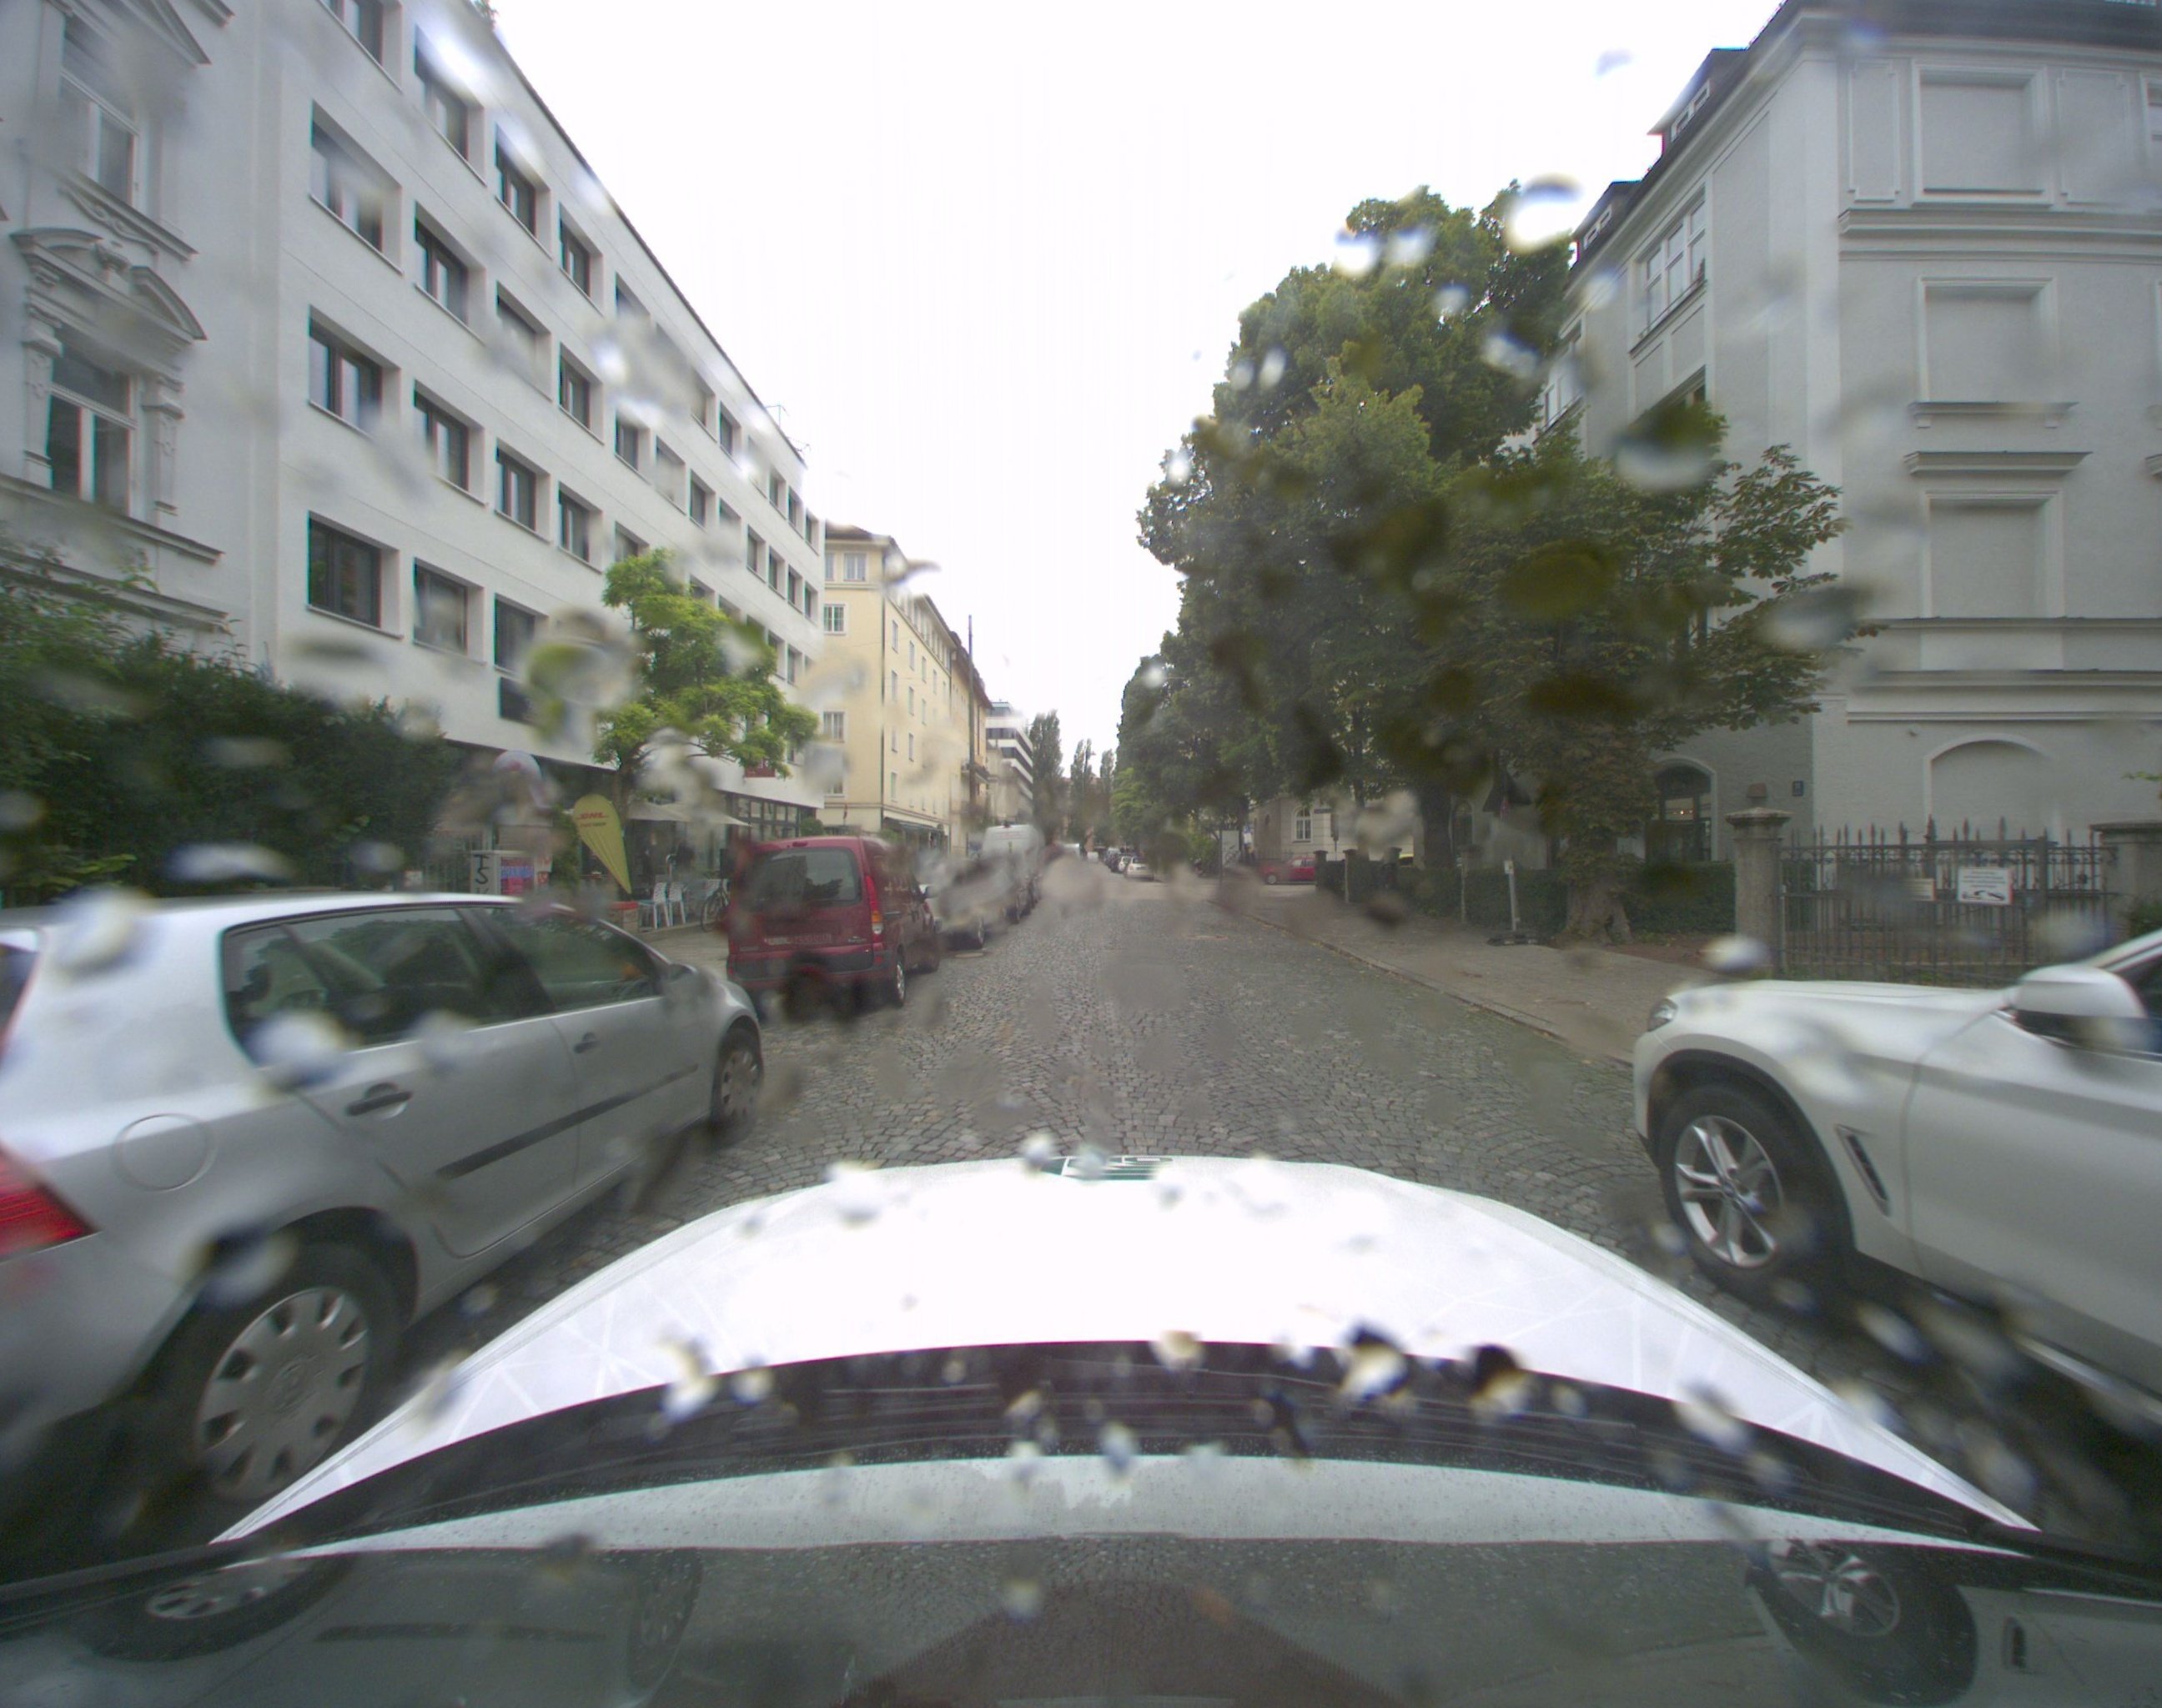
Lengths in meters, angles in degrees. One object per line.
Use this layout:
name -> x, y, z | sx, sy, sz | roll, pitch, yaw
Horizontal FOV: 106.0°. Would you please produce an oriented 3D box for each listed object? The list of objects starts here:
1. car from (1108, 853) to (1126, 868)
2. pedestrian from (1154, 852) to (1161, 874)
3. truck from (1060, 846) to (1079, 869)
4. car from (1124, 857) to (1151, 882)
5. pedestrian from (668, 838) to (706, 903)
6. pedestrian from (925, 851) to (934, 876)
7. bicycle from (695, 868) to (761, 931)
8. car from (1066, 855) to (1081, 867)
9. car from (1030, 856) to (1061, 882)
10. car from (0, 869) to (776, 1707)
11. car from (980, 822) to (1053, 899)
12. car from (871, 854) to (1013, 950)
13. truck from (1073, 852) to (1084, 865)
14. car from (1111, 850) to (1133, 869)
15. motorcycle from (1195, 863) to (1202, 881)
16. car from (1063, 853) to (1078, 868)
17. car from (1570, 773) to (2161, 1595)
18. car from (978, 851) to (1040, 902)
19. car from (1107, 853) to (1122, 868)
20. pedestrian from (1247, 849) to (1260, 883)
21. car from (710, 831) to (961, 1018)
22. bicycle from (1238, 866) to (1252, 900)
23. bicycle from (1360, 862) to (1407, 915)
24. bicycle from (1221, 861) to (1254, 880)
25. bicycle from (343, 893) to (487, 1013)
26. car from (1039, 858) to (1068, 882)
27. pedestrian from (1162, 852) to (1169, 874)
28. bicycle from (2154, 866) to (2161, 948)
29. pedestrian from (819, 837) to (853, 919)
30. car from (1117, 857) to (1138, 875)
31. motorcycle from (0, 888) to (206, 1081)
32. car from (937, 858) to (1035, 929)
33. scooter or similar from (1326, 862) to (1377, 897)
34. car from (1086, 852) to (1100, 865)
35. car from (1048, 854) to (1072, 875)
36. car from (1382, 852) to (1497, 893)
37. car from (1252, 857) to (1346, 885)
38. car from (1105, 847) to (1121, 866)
car -> 4.241, 0.803, 97.208 | 1.957, 1.759, 4.953 | 0, -1, 0
pedestrian -> 6.351, 0.723, 67.775 | 0.572, 1.850, 0.683 | -1, 0, 8
truck -> -1.636, 0.446, 115.190 | 2.501, 3.031, 6.382 | -2, 0, -1
car -> 3.524, 0.948, 50.978 | 1.496, 1.471, 3.796 | 2, -1, 2
pedestrian -> -10.404, 0.426, 21.530 | 0.553, 1.660, 0.784 | 2, 1, 3
pedestrian -> -10.266, 0.652, 55.211 | 0.520, 1.642, 0.629 | 0, -1, 0
bicycle -> -6.946, 0.862, 16.112 | 0.359, 1.175, 1.912 | 0, -1, 3
car -> -0.940, 0.888, 103.136 | 1.934, 1.459, 4.056 | 0, -1, -1
car -> -2.171, 0.918, 50.983 | 1.847, 1.586, 4.745 | 0, -1, -1
car -> -2.632, 0.774, 2.975 | 1.626, 1.394, 3.814 | 0, -1, -1
car -> -2.312, 0.241, 30.702 | 1.969, 2.574, 5.797 | -2, -1, 2
car -> -2.365, 0.777, 14.789 | 1.686, 1.504, 3.780 | 0, -1, 3
truck -> -0.412, 0.838, 143.463 | 1.987, 2.347, 4.068 | 0, -1, 0
car -> 3.848, 0.539, 76.819 | 1.869, 1.673, 5.490 | 0, -1, 0
motorcycle -> 7.433, 1.134, 51.568 | 0.361, 1.090, 1.404 | 0, -1, 3
car -> -1.233, 0.807, 97.916 | 1.768, 1.718, 4.389 | 0, -1, 0
car -> 3.167, 0.673, 1.437 | 1.913, 1.686, 4.635 | 0, -1, 1
car -> -2.186, 0.673, 25.561 | 1.657, 1.482, 3.979 | 0, -1, -1
car -> 4.538, 0.913, 110.150 | 1.794, 1.949, 4.859 | 3, -1, 0
pedestrian -> 9.532, 0.659, 45.078 | 0.492, 1.876, 0.741 | 0, -1, -4
car -> -2.601, 0.682, 9.618 | 1.712, 1.723, 3.898 | -1, -1, 1
bicycle -> 5.772, 0.994, 28.684 | 0.386, 1.147, 1.593 | 0, -1, 8
bicycle -> 7.279, 0.811, 19.637 | 0.426, 1.198, 1.731 | -5, -1, 1
bicycle -> 9.027, 0.953, 47.050 | 1.825, 1.124, 0.564 | -1, 0, 13
bicycle -> -7.138, 1.012, 8.822 | 0.257, 1.078, 1.684 | 0, 1, -3
car -> -1.853, 1.085, 55.836 | 1.768, 1.536, 4.540 | 0, 0, 0
pedestrian -> 7.082, 0.751, 68.288 | 0.624, 1.808, 0.661 | 0, -1, 7
bicycle -> 14.801, 0.707, 10.207 | 0.419, 1.101, 1.671 | 0, -1, -4
pedestrian -> -5.652, 0.547, 18.810 | 0.612, 1.840, 0.812 | 0, -1, -6
car -> 4.095, 1.023, 71.582 | 1.625, 1.469, 3.659 | 2, -1, 0
motorcycle -> -6.876, 0.833, 5.291 | 0.328, 1.180, 1.632 | 0, -1, 16
car -> -2.197, 0.879, 20.017 | 1.719, 1.464, 4.474 | -2, 0, 1
scooter or similar -> 9.188, 0.872, 27.631 | 1.588, 1.172, 0.407 | -1, -1, 24
car -> 1.722, 0.694, 119.394 | 1.989, 1.936, 4.000 | 0, -1, 1
car -> -1.715, 0.872, 67.305 | 1.767, 1.647, 4.392 | 0, -1, 1
car -> 14.743, 0.754, 33.707 | 4.047, 1.597, 1.912 | 0, -1, 12
car -> 11.063, 0.861, 41.517 | 4.442, 1.358, 1.764 | 0, 0, 8
car -> 4.549, 0.339, 115.772 | 1.889, 2.426, 5.610 | 4, 0, 0
